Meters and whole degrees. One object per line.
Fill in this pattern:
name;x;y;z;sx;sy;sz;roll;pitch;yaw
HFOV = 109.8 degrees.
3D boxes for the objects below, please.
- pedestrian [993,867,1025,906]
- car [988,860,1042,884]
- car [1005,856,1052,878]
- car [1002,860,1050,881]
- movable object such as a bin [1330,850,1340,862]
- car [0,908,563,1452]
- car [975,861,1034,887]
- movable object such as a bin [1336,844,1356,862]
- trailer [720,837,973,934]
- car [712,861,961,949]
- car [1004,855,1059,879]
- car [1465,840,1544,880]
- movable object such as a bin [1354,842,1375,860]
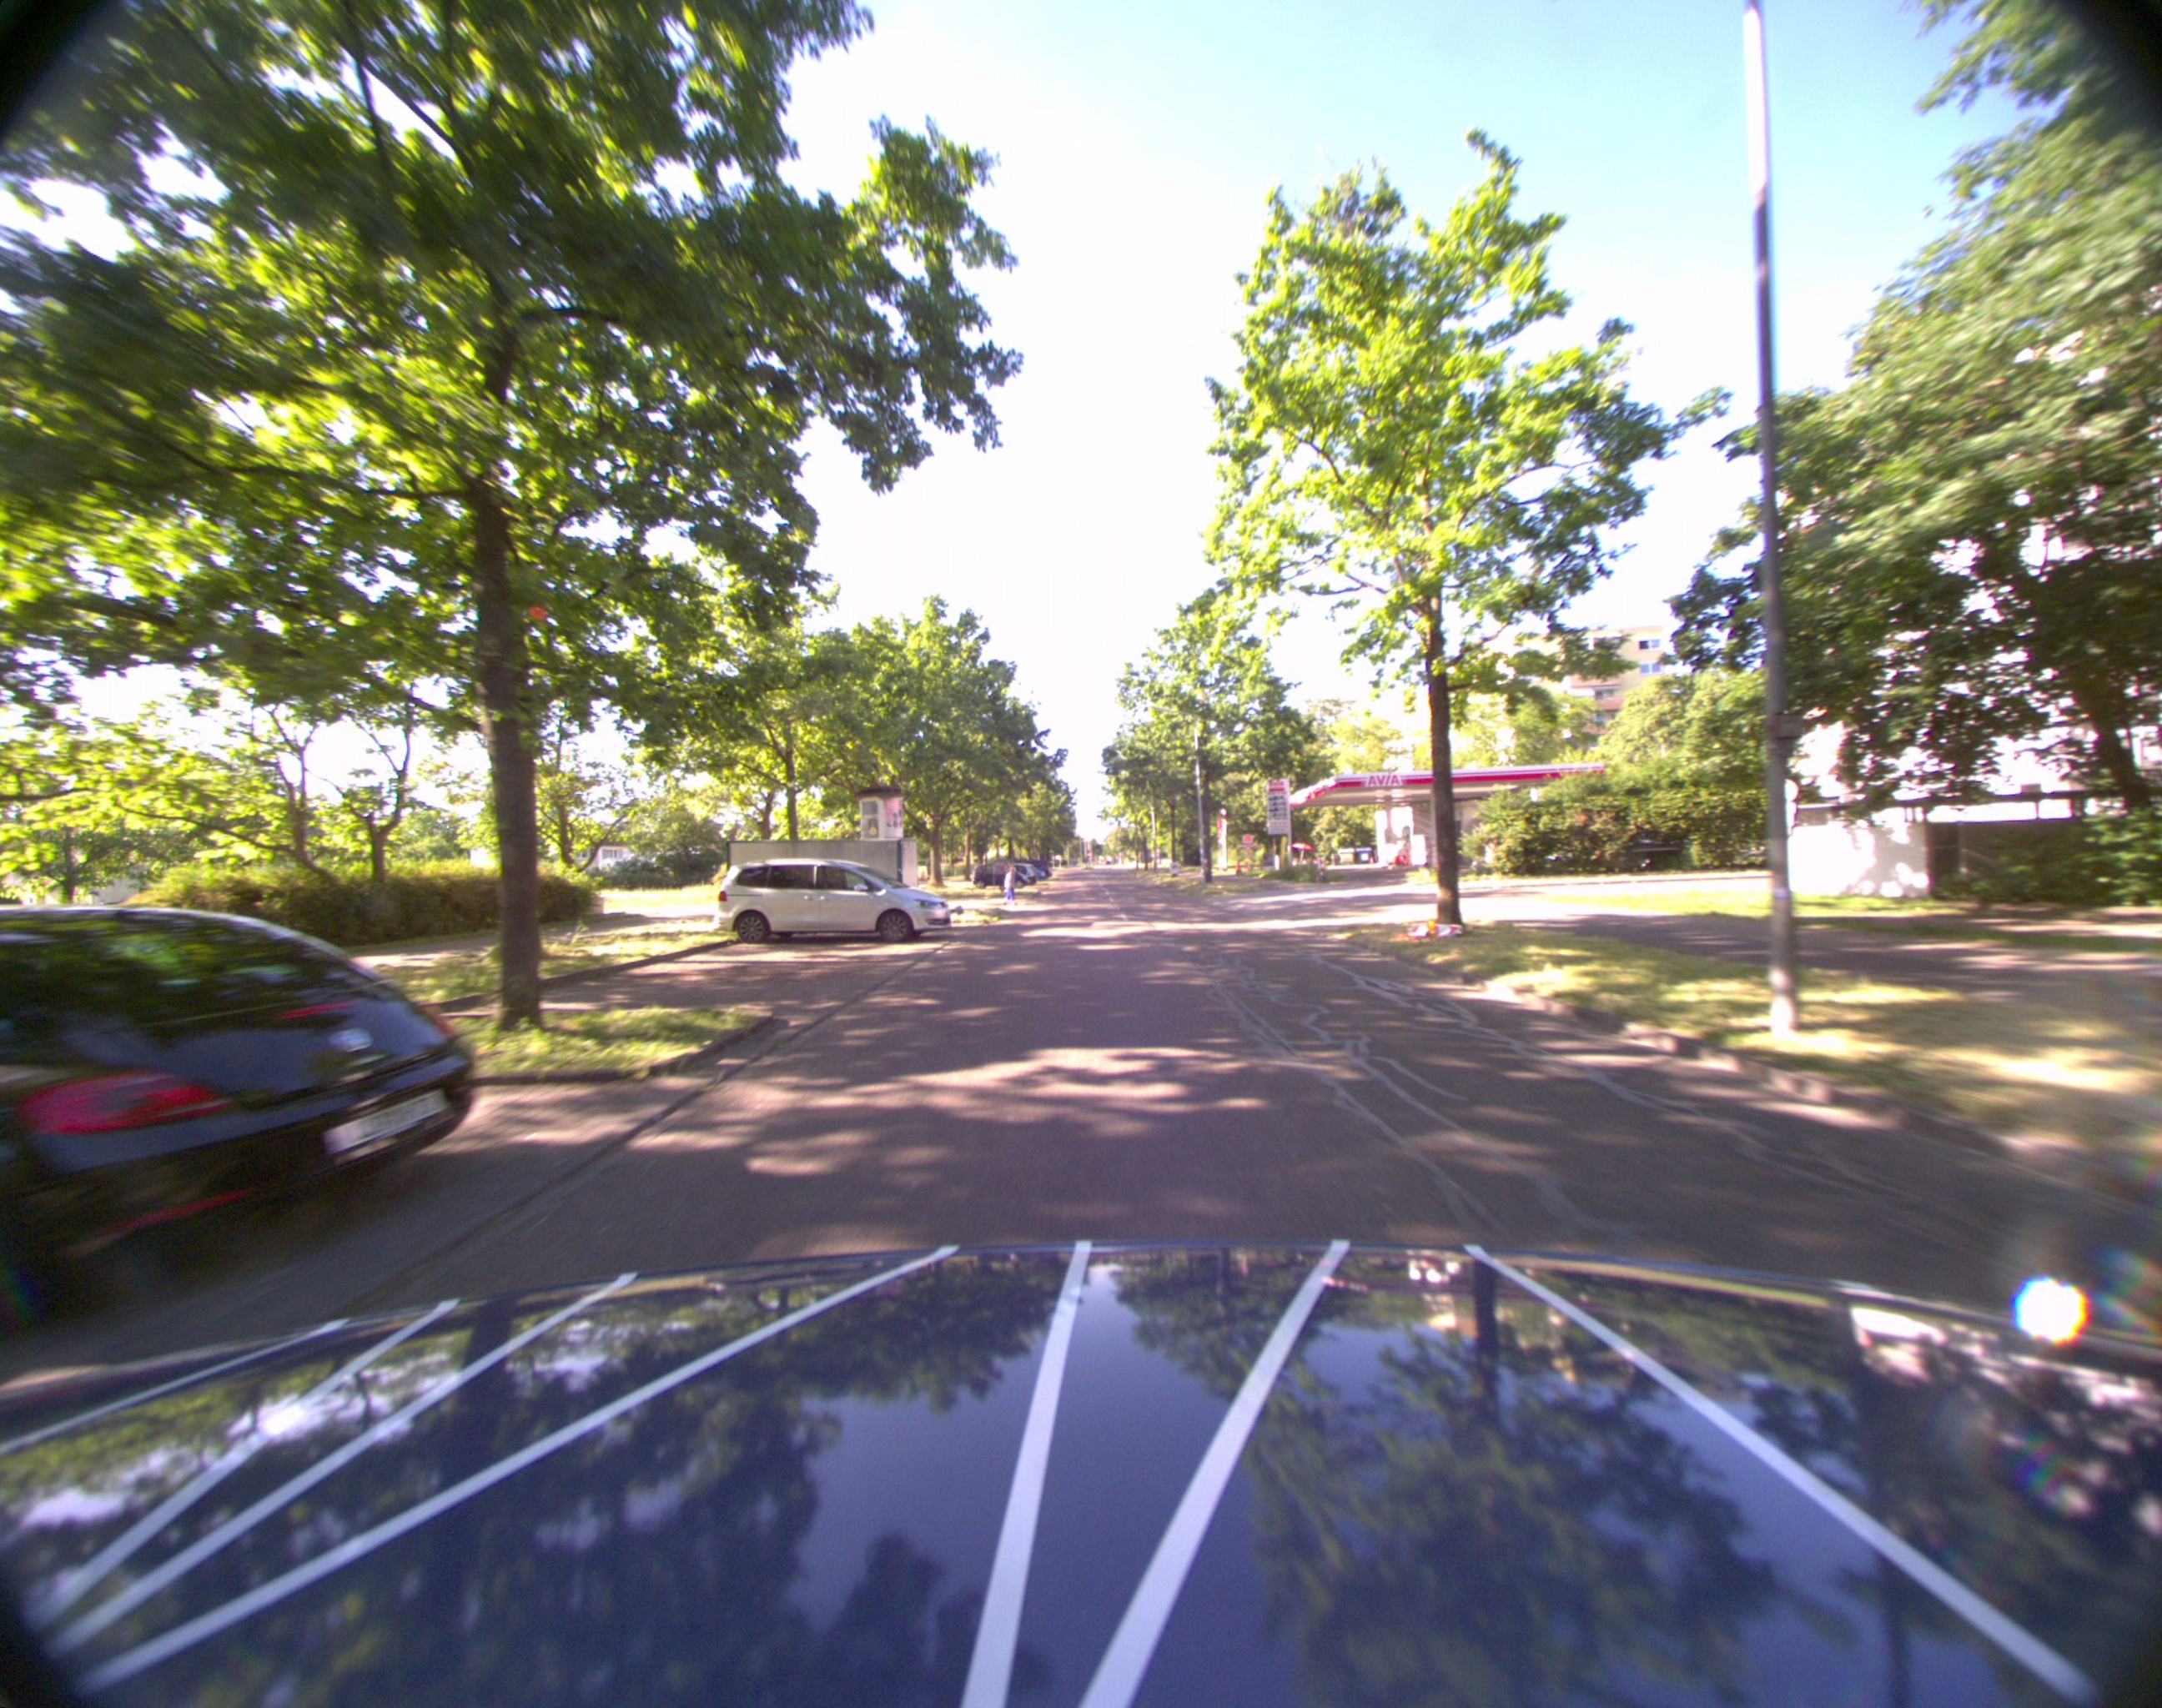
pedestrian;-2.814;1.253;29.747;0.941;1.491;0.886;-1;0;22
car;-4.600;1.268;53.678;3.592;1.567;1.786;-1;0;2
car;-4.546;1.136;66.253;4.020;1.826;1.799;-1;0;-2
car;-4.192;1.270;58.351;3.529;1.523;1.665;-1;0;2
movable object such as a bin;22.504;0.190;67.244;0.570;1.079;0.768;-2;0;1
car;-5.160;1.101;3.390;4.255;1.510;2.078;-1;0;1
car;-4.854;1.249;48.746;3.593;1.567;1.857;-1;0;-1
movable object such as a bin;23.436;-0.079;67.212;1.307;1.533;1.268;-2;0;1
trailer;-5.758;0.773;19.045;5.788;2.304;1.686;0;0;2
car;-5.063;1.028;16.216;4.653;1.712;1.988;-1;0;1
car;-4.434;1.140;68.375;4.815;2.020;1.944;-1;0;0
car;17.109;0.236;30.864;1.549;1.413;3.489;-4;0;8
movable object such as a bin;25.027;-0.241;67.033;1.307;1.533;1.164;-3;0;1
